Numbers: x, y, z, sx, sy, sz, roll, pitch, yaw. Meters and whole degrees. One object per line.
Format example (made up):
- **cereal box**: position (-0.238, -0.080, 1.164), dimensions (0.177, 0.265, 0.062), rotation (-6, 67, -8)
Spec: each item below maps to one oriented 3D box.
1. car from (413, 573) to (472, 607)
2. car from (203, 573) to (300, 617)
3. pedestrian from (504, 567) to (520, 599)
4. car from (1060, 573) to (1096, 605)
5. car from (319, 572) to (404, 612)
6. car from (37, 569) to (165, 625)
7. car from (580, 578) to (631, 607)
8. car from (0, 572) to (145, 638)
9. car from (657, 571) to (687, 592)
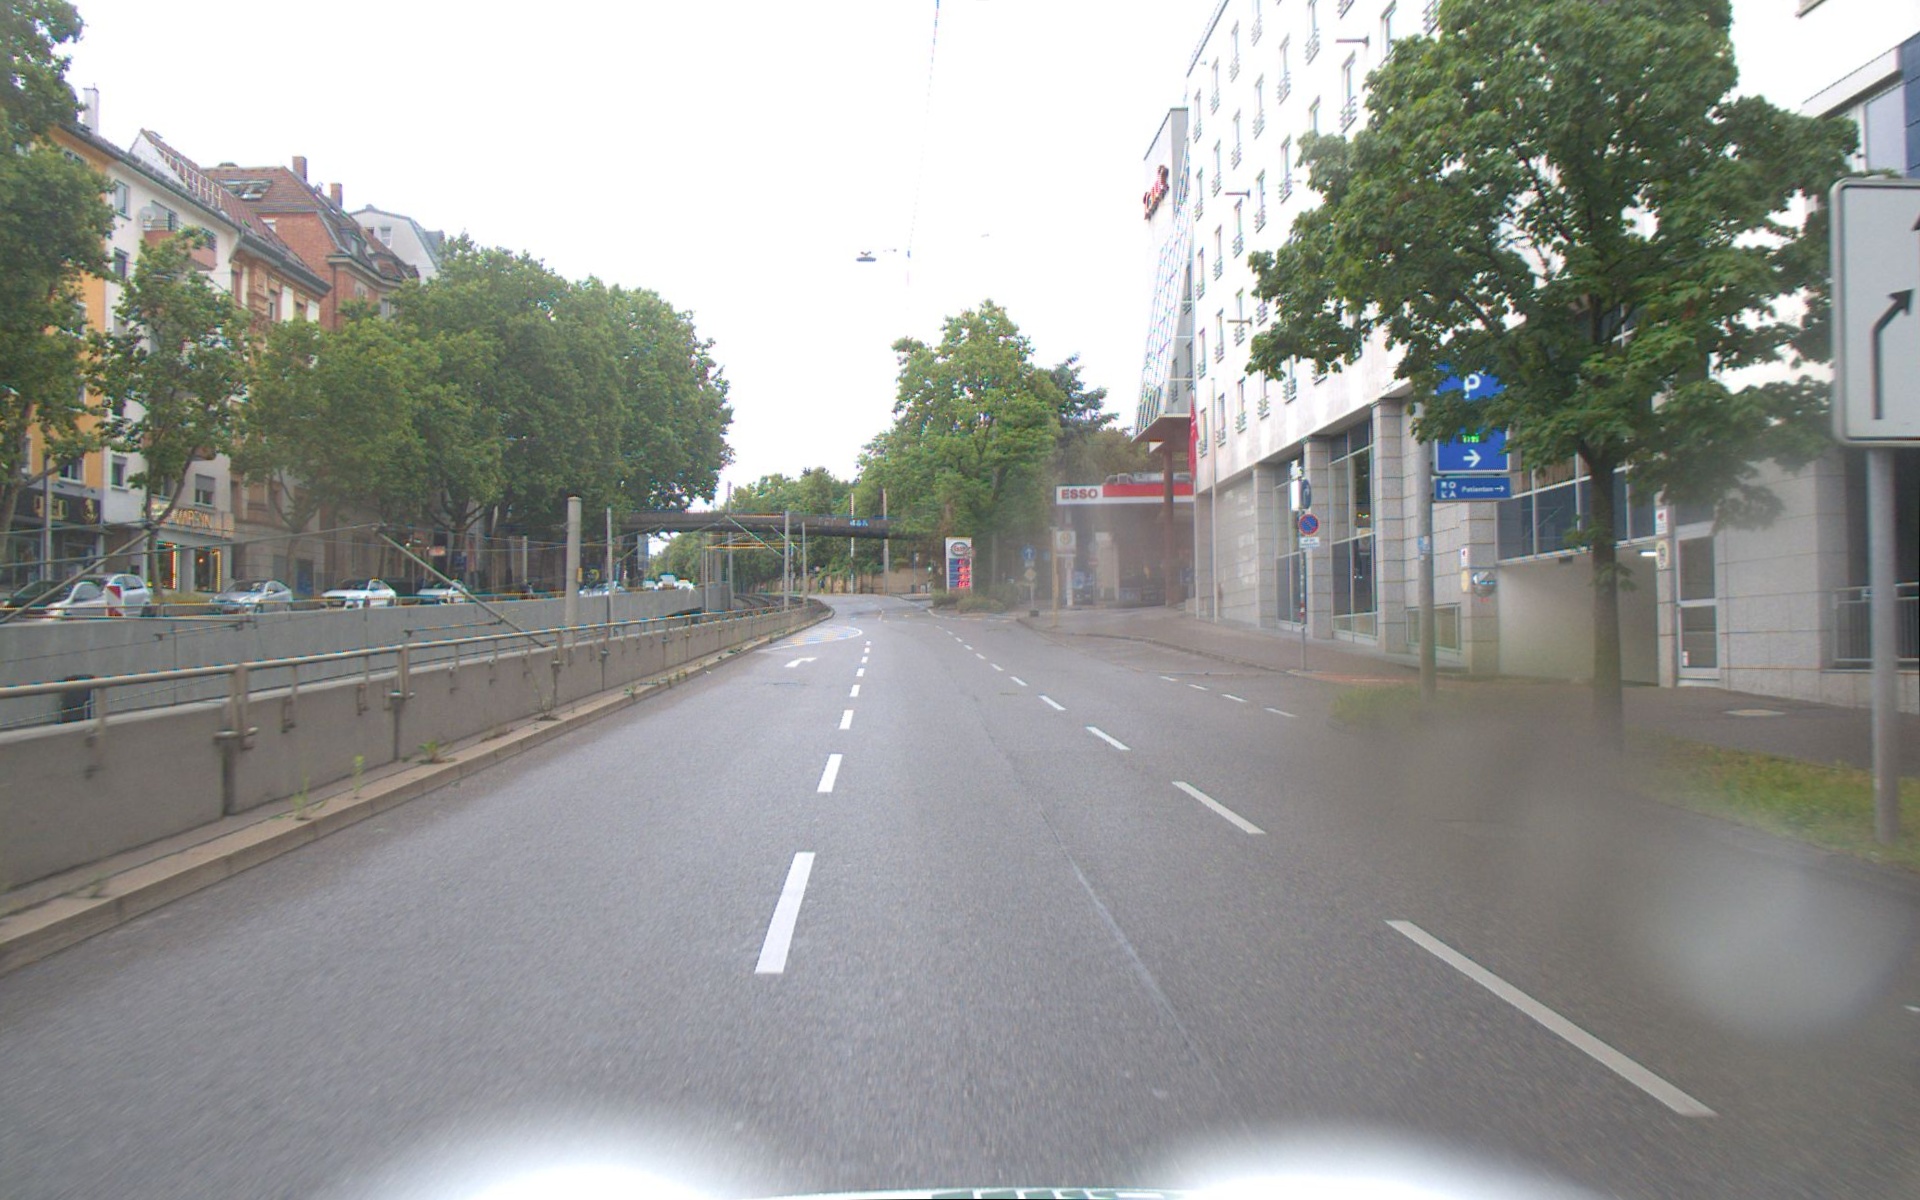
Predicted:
- **car**: position (-26.018, -0.533, 83.211), dimensions (1.758, 1.639, 4.111), rotation (1, 1, -2)
- **car**: position (-26.137, -0.194, 61.176), dimensions (1.757, 1.536, 4.207), rotation (1, 1, 0)
- **pedestrian**: position (-28.662, -1.087, 105.834), dimensions (0.655, 2.049, 0.935), rotation (1, -1, 1)
- **car**: position (6.541, -0.613, 91.393), dimensions (1.735, 1.652, 3.869), rotation (-3, 0, 7)
- **car**: position (-26.143, -0.373, 72.383), dimensions (1.888, 1.629, 5.198), rotation (1, 1, -1)
- **car**: position (-26.288, -0.116, 50.773), dimensions (1.757, 1.598, 4.207), rotation (1, 1, 0)
- **car**: position (-19.669, -0.457, 91.908), dimensions (1.986, 1.536, 4.880), rotation (1, 1, -3)
- **car**: position (-22.376, 0.087, 41.435), dimensions (1.808, 1.536, 4.017), rotation (1, 1, 1)
- **car**: position (-27.550, -1.782, 158.324), dimensions (1.916, 1.885, 4.968), rotation (1, 1, 0)
